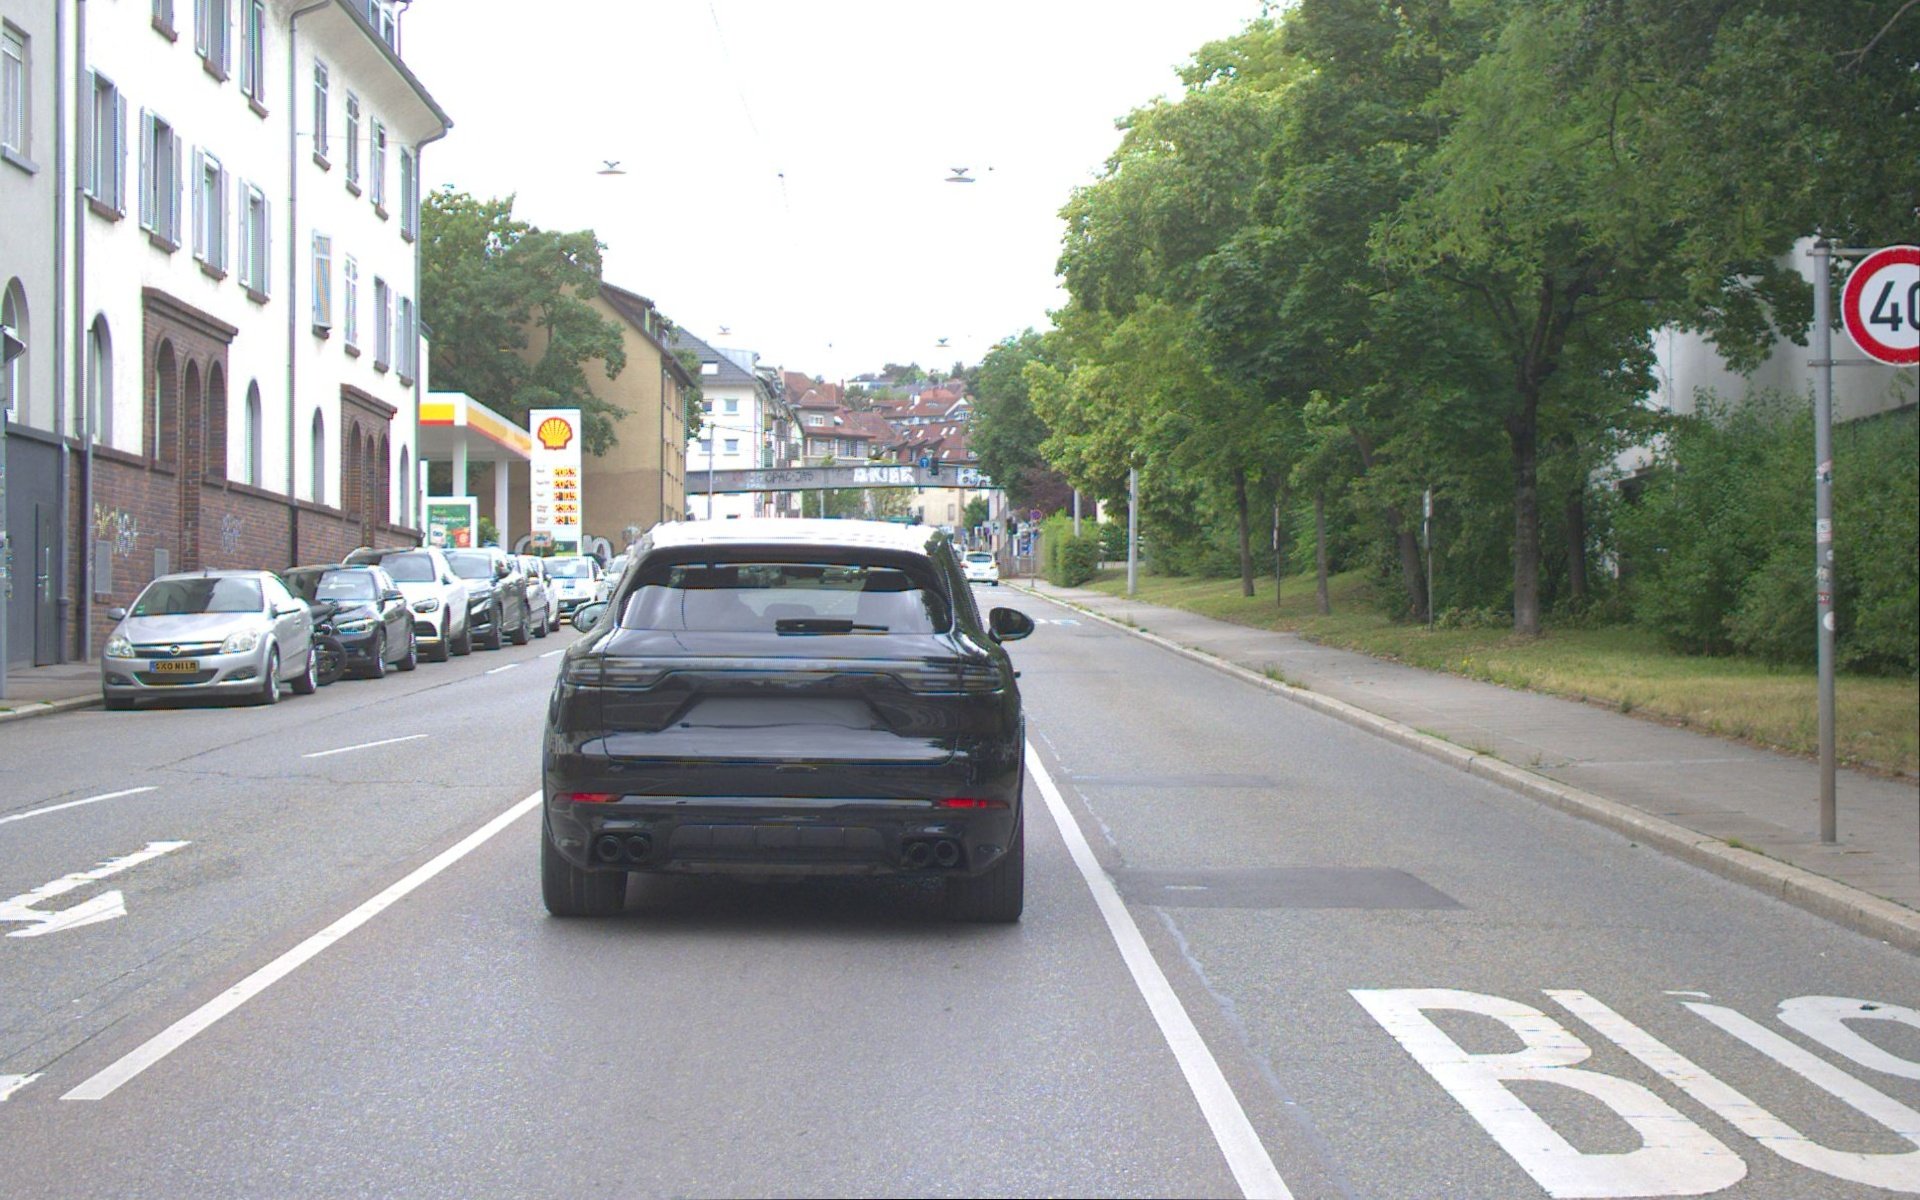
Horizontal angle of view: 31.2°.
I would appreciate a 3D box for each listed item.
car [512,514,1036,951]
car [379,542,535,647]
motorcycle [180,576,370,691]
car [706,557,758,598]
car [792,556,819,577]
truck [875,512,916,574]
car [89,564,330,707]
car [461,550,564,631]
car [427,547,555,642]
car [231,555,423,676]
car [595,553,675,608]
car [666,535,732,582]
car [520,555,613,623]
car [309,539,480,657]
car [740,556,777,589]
[{"bbox_3d":[-0.732,0.465,15.232,1.993,1.656,4.000,1,1,0],"label":"car"},{"bbox_3d":[-8.035,-0.122,55.246,1.727,1.593,4.501,0,1,1],"label":"car"},{"bbox_3d":[-7.975,0.373,40.003,2.039,1.231,0.808,-2,1,-18],"label":"motorcycle"},{"bbox_3d":[-9.331,-0.924,140.838,1.783,1.603,4.264,-2,1,0],"label":"car"},{"bbox_3d":[-11.142,-2.419,248.795,1.765,1.503,4.000,0,0,0],"label":"car"},{"bbox_3d":[-3.610,-3.170,192.947,2.266,3.413,9.879,0,0,-1],"label":"truck"},{"bbox_3d":[-7.855,0.329,36.335,1.727,1.369,4.338,0,1,-2],"label":"car"},{"bbox_3d":[-8.480,-0.202,65.362,1.547,1.470,3.604,0,1,-1],"label":"car"},{"bbox_3d":[-8.202,-0.120,60.431,1.727,1.553,4.082,-2,1,-1],"label":"car"},{"bbox_3d":[-7.989,0.160,43.686,1.727,1.424,4.192,0,1,-1],"label":"car"},{"bbox_3d":[-8.736,-0.545,92.787,1.790,1.445,4.218,-1,1,-1],"label":"car"},{"bbox_3d":[-9.011,-1.435,119.042,1.915,1.572,4.700,0,1,0],"label":"car"},{"bbox_3d":[-8.524,-0.260,74.728,1.619,1.420,3.665,0,1,0],"label":"car"},{"bbox_3d":[-8.154,-0.073,49.935,1.845,1.616,4.644,0,1,-2],"label":"car"},{"bbox_3d":[-10.015,-1.382,171.147,1.745,1.563,3.908,-1,1,-3],"label":"car"}]
